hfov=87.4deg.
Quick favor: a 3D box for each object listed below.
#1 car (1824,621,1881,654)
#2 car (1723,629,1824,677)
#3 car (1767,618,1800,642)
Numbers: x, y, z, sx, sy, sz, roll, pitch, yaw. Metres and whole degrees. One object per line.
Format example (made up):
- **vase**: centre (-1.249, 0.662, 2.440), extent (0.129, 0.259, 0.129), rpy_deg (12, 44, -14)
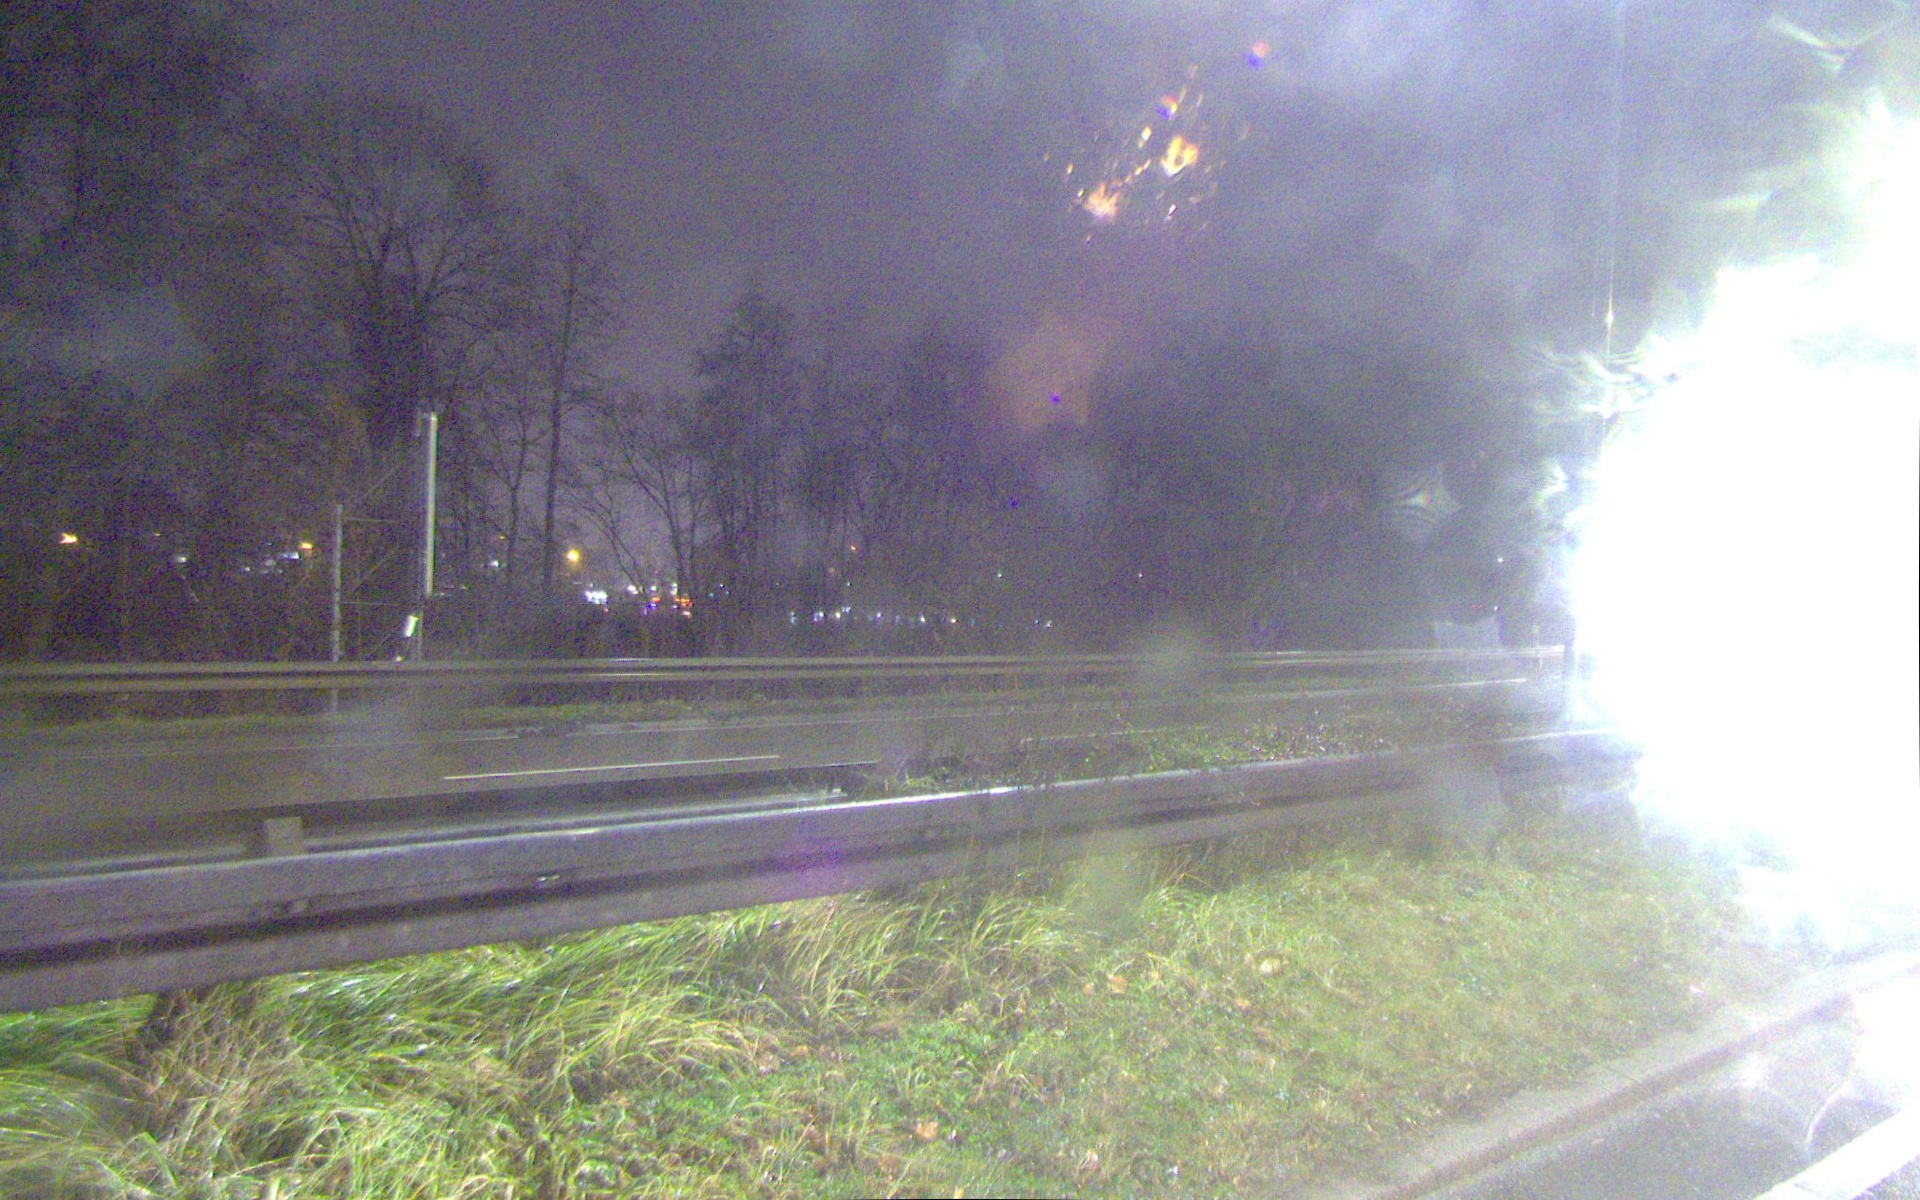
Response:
- **car**: centre (40.624, 1.693, 45.673), extent (4.637, 1.442, 1.694), rpy_deg (2, -2, -45)
- **car**: centre (28.380, 1.820, 34.993), extent (4.803, 1.528, 1.976), rpy_deg (2, -2, -42)
- **car**: centre (59.796, 2.147, 72.955), extent (1.743, 1.653, 4.232), rpy_deg (1, 0, 38)
